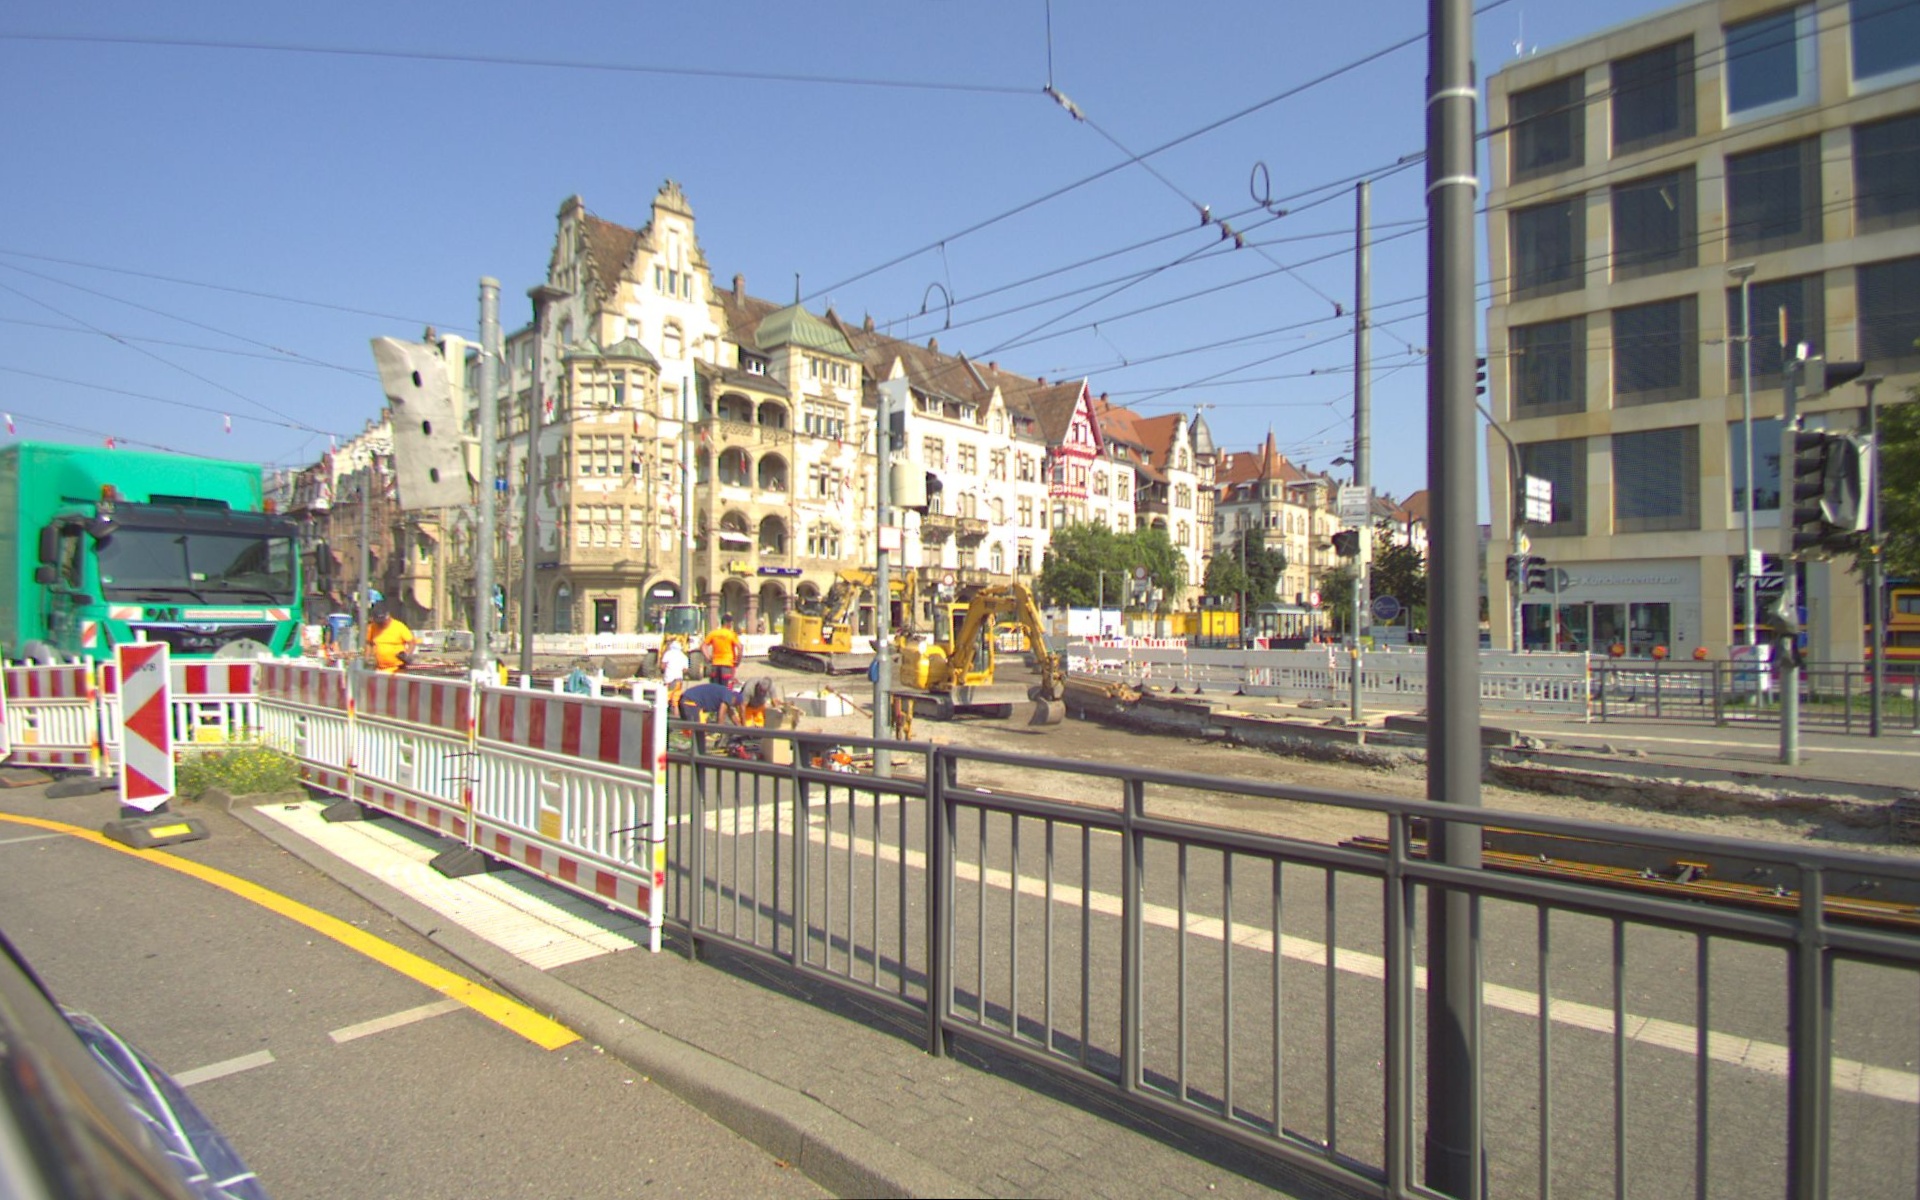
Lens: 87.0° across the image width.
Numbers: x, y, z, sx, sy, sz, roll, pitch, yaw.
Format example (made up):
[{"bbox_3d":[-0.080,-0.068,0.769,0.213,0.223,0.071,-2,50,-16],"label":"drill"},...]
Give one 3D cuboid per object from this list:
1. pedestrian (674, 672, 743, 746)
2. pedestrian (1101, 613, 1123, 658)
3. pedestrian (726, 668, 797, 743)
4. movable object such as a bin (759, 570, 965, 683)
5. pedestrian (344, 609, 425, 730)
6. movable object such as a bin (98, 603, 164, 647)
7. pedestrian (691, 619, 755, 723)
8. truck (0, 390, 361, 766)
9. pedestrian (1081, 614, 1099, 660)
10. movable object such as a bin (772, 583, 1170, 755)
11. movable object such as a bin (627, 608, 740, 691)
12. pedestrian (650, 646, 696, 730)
[{"bbox_3d":[-3.325,1.426,13.364,0.808,0.933,0.514,1,-3,-21],"label":"pedestrian"},{"bbox_3d":[6.927,1.627,46.053,0.658,2.029,0.831,1,-2,-23],"label":"pedestrian"},{"bbox_3d":[-2.836,1.485,14.418,0.934,0.996,0.505,-2,-3,39],"label":"pedestrian"},{"bbox_3d":[-4.210,1.160,43.352,7.257,4.380,4.983,2,-2,-33],"label":"movable object such as a bin"},{"bbox_3d":[-7.800,0.924,13.714,0.691,1.578,0.752,-2,-4,43],"label":"pedestrian"},{"bbox_3d":[-31.248,0.957,38.122,1.581,1.571,3.288,3,-3,-44],"label":"movable object such as a bin"},{"bbox_3d":[-3.689,1.094,15.777,0.808,1.578,0.555,0,-3,7],"label":"pedestrian"},{"bbox_3d":[-11.939,-0.119,14.004,8.390,3.942,2.771,-2,-1,32],"label":"truck"},{"bbox_3d":[5.942,1.691,46.225,0.664,2.080,0.893,-1,-2,20],"label":"pedestrian"},{"bbox_3d":[-0.093,1.222,21.796,8.479,2.980,3.573,0,-1,44],"label":"movable object such as a bin"},{"bbox_3d":[-10.172,1.795,37.669,2.420,2.856,4.806,0,-2,6],"label":"movable object such as a bin"},{"bbox_3d":[-5.533,1.682,19.533,0.691,1.578,0.558,2,-3,-35],"label":"pedestrian"}]
